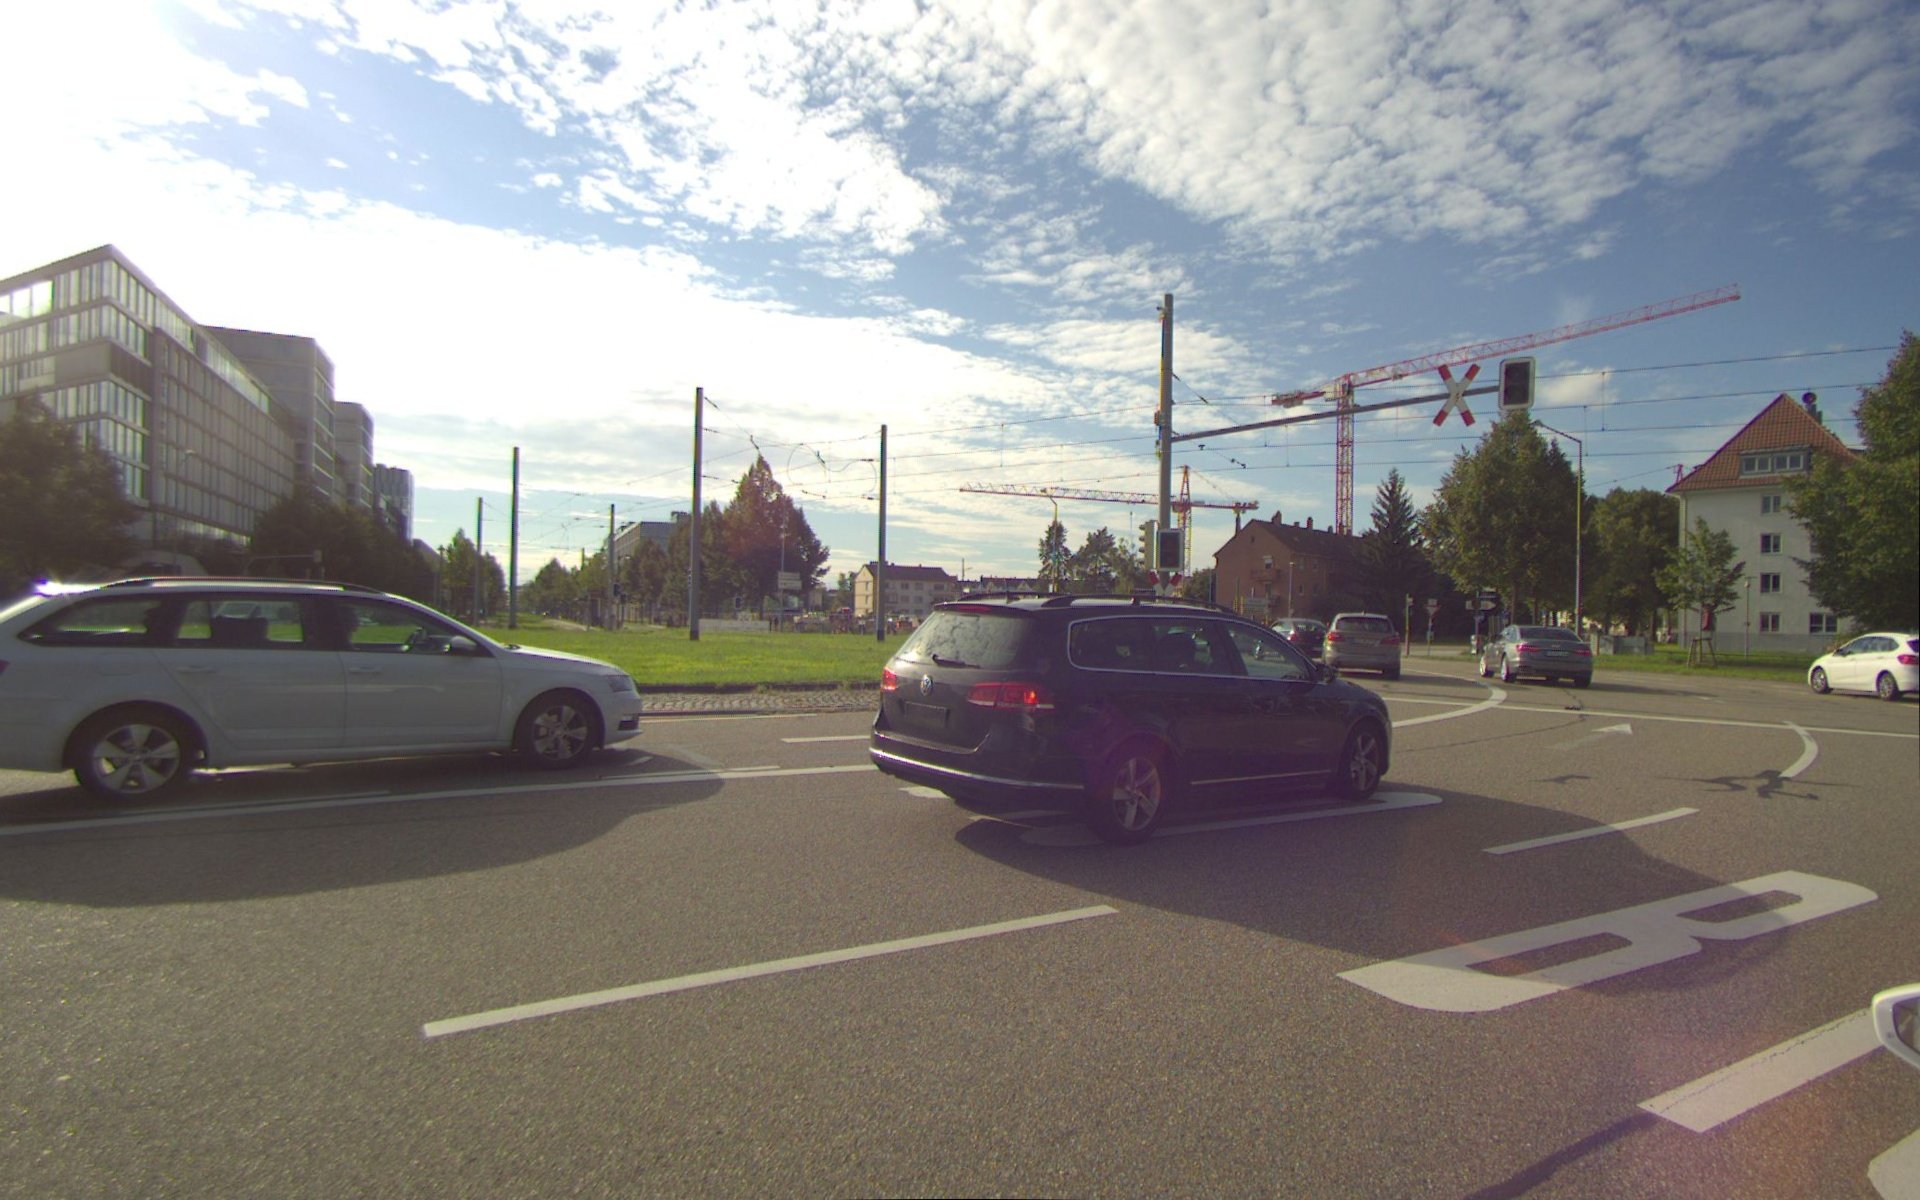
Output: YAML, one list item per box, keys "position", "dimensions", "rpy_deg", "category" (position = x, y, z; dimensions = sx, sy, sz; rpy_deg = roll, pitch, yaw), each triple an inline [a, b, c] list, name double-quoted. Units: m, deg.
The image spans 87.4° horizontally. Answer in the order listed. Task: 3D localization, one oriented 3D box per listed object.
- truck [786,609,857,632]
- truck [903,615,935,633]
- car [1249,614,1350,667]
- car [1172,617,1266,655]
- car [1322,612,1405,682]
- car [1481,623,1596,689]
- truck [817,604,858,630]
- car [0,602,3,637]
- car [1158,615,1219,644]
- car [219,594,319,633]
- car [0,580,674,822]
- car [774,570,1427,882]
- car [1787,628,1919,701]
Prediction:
- position: [-16.352, 2.429, 118.491]
  dimensions: [7.758, 2.601, 3.054]
  rpy_deg: [2, -1, -27]
  category: "truck"
- position: [-5.740, 3.251, 138.805]
  dimensions: [2.039, 2.359, 5.595]
  rpy_deg: [2, -1, -29]
  category: "truck"
- position: [11.506, 1.339, 34.357]
  dimensions: [1.961, 1.561, 3.999]
  rpy_deg: [3, 0, -1]
  category: "car"
- position: [11.857, 1.629, 46.268]
  dimensions: [1.831, 1.497, 4.429]
  rpy_deg: [3, -1, -23]
  category: "car"
- position: [10.239, 1.154, 25.702]
  dimensions: [1.738, 1.593, 4.068]
  rpy_deg: [2, -1, 19]
  category: "car"
- position: [14.646, 1.359, 25.666]
  dimensions: [1.820, 1.464, 4.714]
  rpy_deg: [2, -1, 22]
  category: "car"
- position: [-16.211, 2.186, 132.417]
  dimensions: [2.783, 3.249, 7.259]
  rpy_deg: [2, -1, -29]
  category: "truck"
- position: [-43.434, 0.849, 42.523]
  dimensions: [1.651, 1.521, 3.997]
  rpy_deg: [-1, -1, 12]
  category: "car"
- position: [16.669, 2.162, 73.293]
  dimensions: [4.622, 1.928, 1.880]
  rpy_deg: [3, -1, -39]
  category: "car"
- position: [-42.714, 0.858, 62.271]
  dimensions: [2.025, 2.294, 6.024]
  rpy_deg: [-1, -1, 0]
  category: "car"
- position: [-4.828, 0.607, 7.973]
  dimensions: [4.595, 1.464, 1.837]
  rpy_deg: [0, 1, -37]
  category: "car"
- position: [1.259, 0.684, 7.432]
  dimensions: [4.801, 1.587, 1.978]
  rpy_deg: [2, 1, -38]
  category: "car"
- position: [22.409, 1.522, 24.367]
  dimensions: [1.819, 1.593, 4.457]
  rpy_deg: [2, -1, 13]
  category: "car"
